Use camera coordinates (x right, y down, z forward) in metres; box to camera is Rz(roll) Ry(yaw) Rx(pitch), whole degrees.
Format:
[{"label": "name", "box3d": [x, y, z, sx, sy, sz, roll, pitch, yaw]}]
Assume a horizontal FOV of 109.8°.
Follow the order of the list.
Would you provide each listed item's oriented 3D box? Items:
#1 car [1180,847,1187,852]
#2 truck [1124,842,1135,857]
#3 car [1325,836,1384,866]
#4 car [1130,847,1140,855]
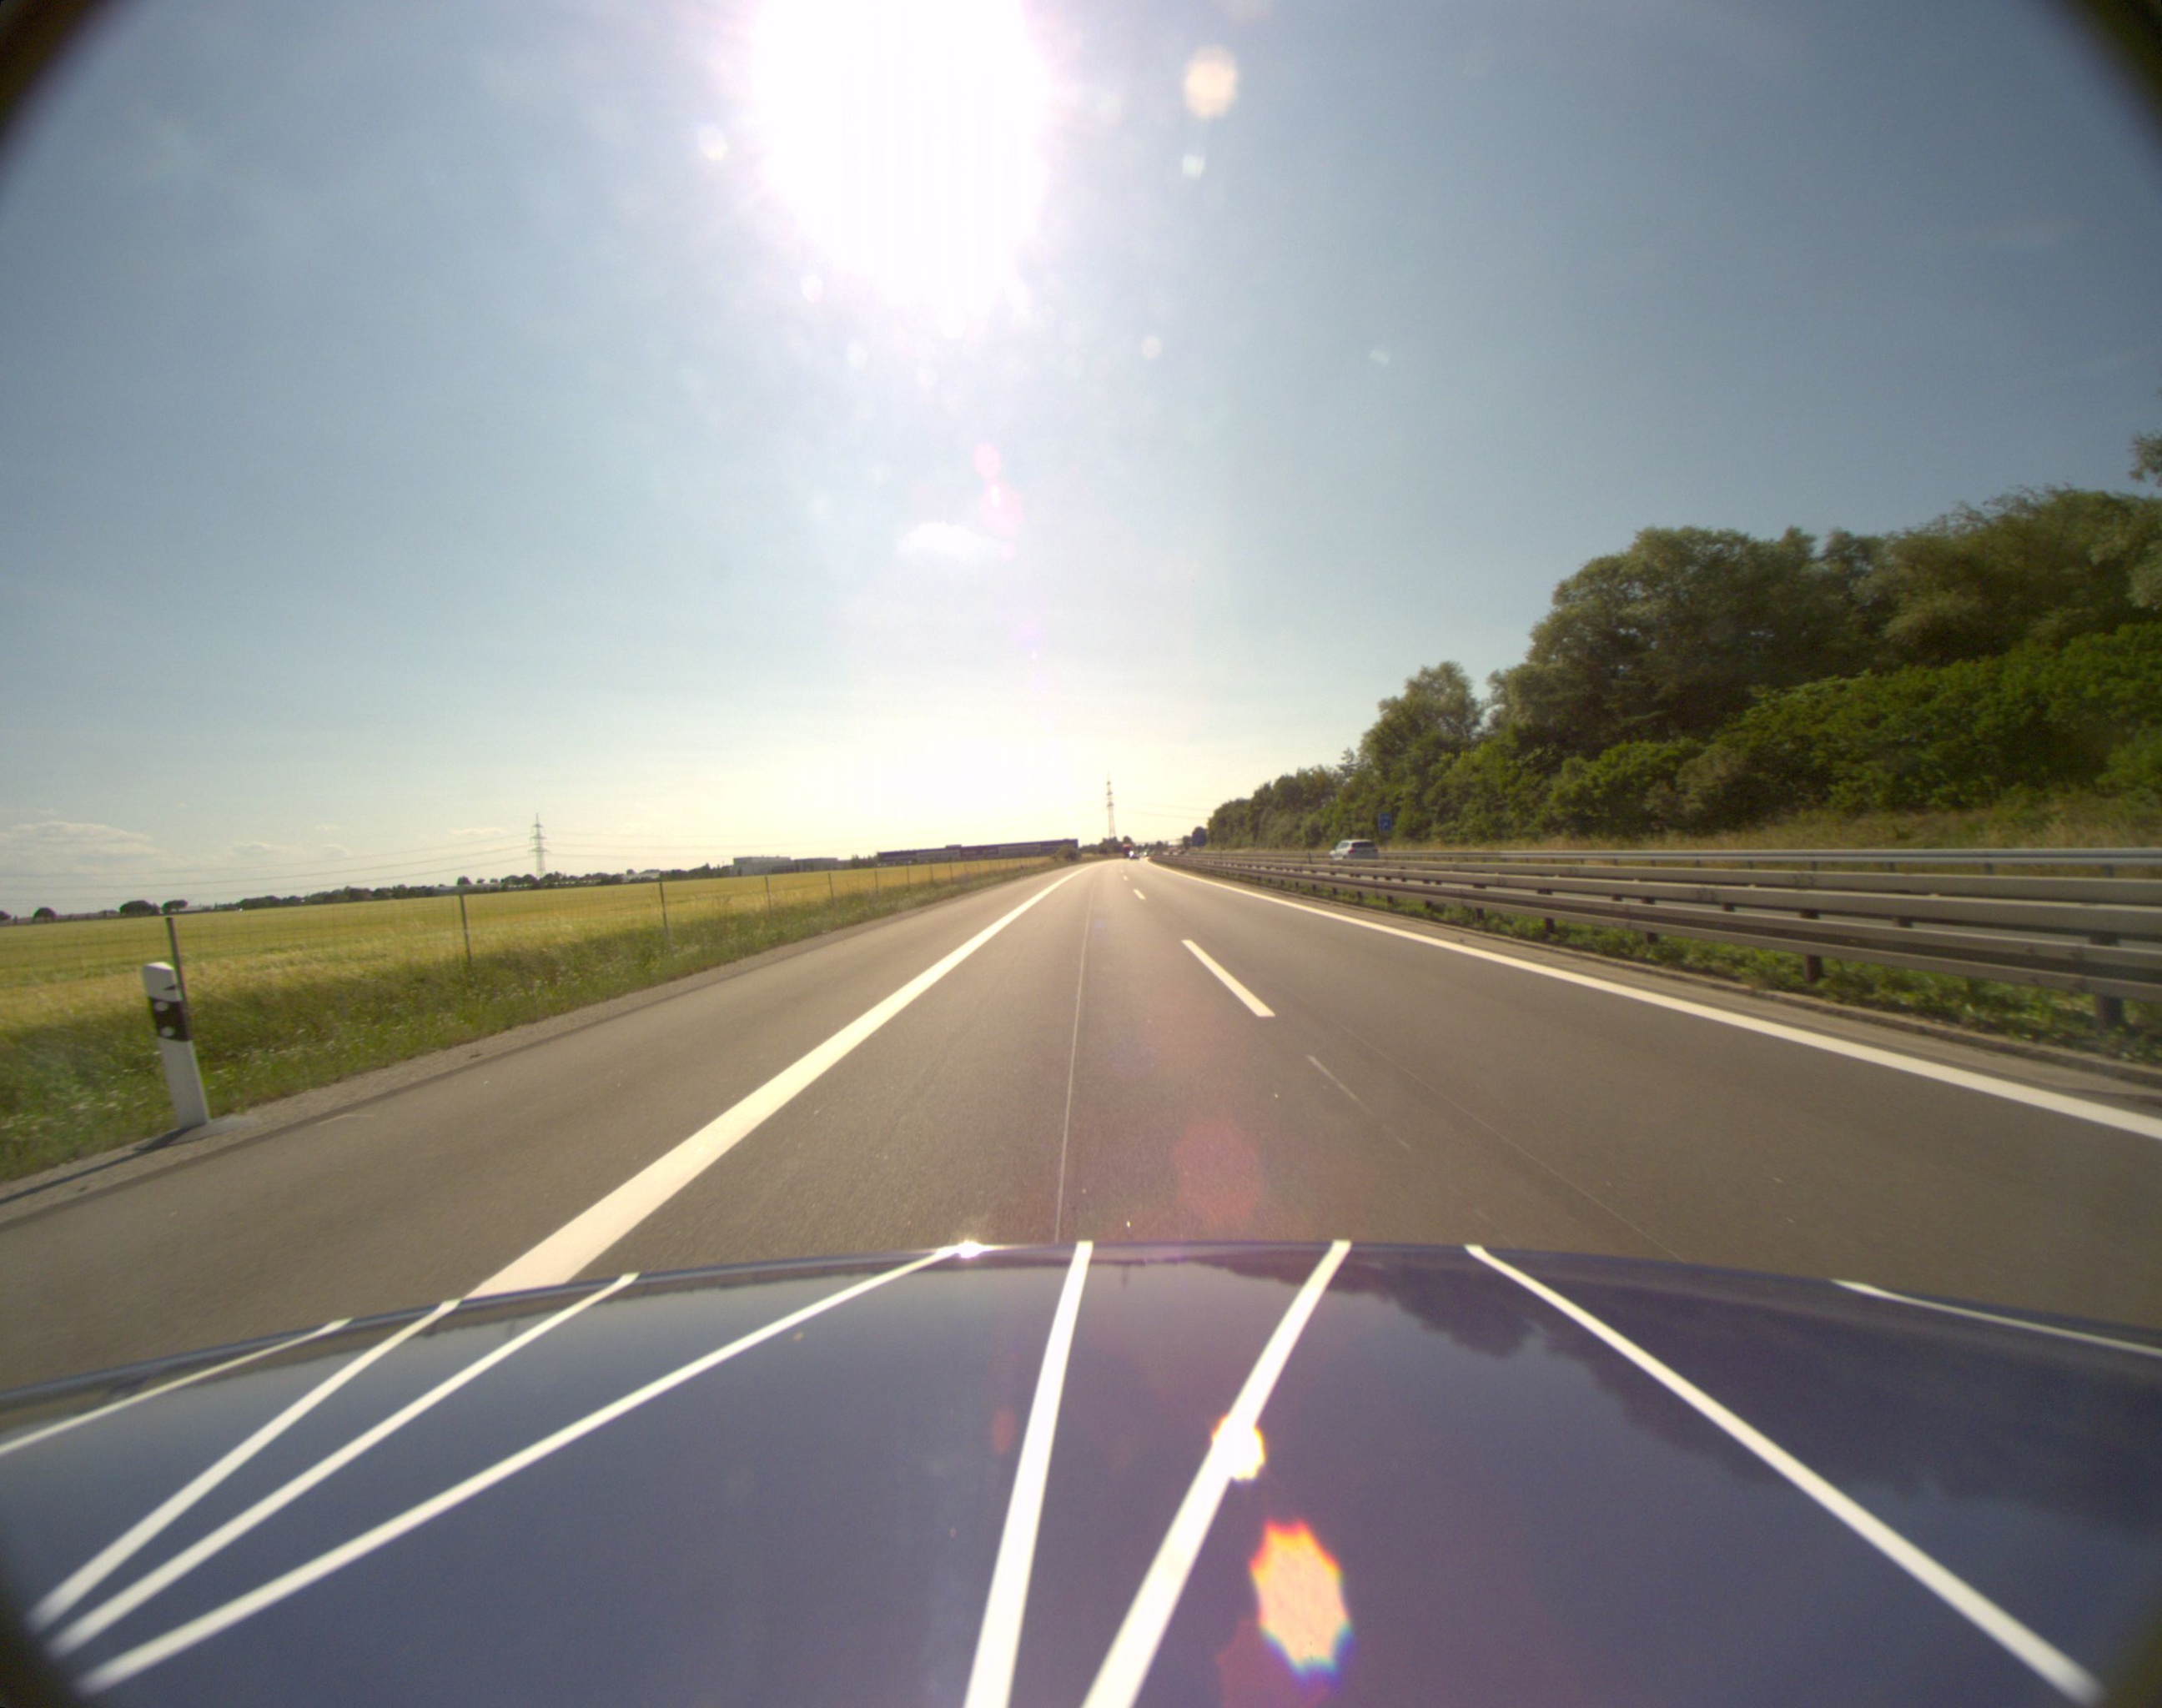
[{"label": "car", "box3d": [33.324, -1.343, 247.035, 1.653, 1.484, 4.540, -3, 0, 4]}, {"label": "truck", "box3d": [13.712, -1.198, 214.625, 2.569, 3.938, 8.647, -5, 0, 6]}, {"label": "car", "box3d": [15.656, -0.191, 43.766, 1.755, 1.556, 4.580, -3, 0, 1]}, {"label": "car", "box3d": [11.009, -0.639, 155.050, 1.860, 1.361, 4.001, -3, 1, 5]}]
